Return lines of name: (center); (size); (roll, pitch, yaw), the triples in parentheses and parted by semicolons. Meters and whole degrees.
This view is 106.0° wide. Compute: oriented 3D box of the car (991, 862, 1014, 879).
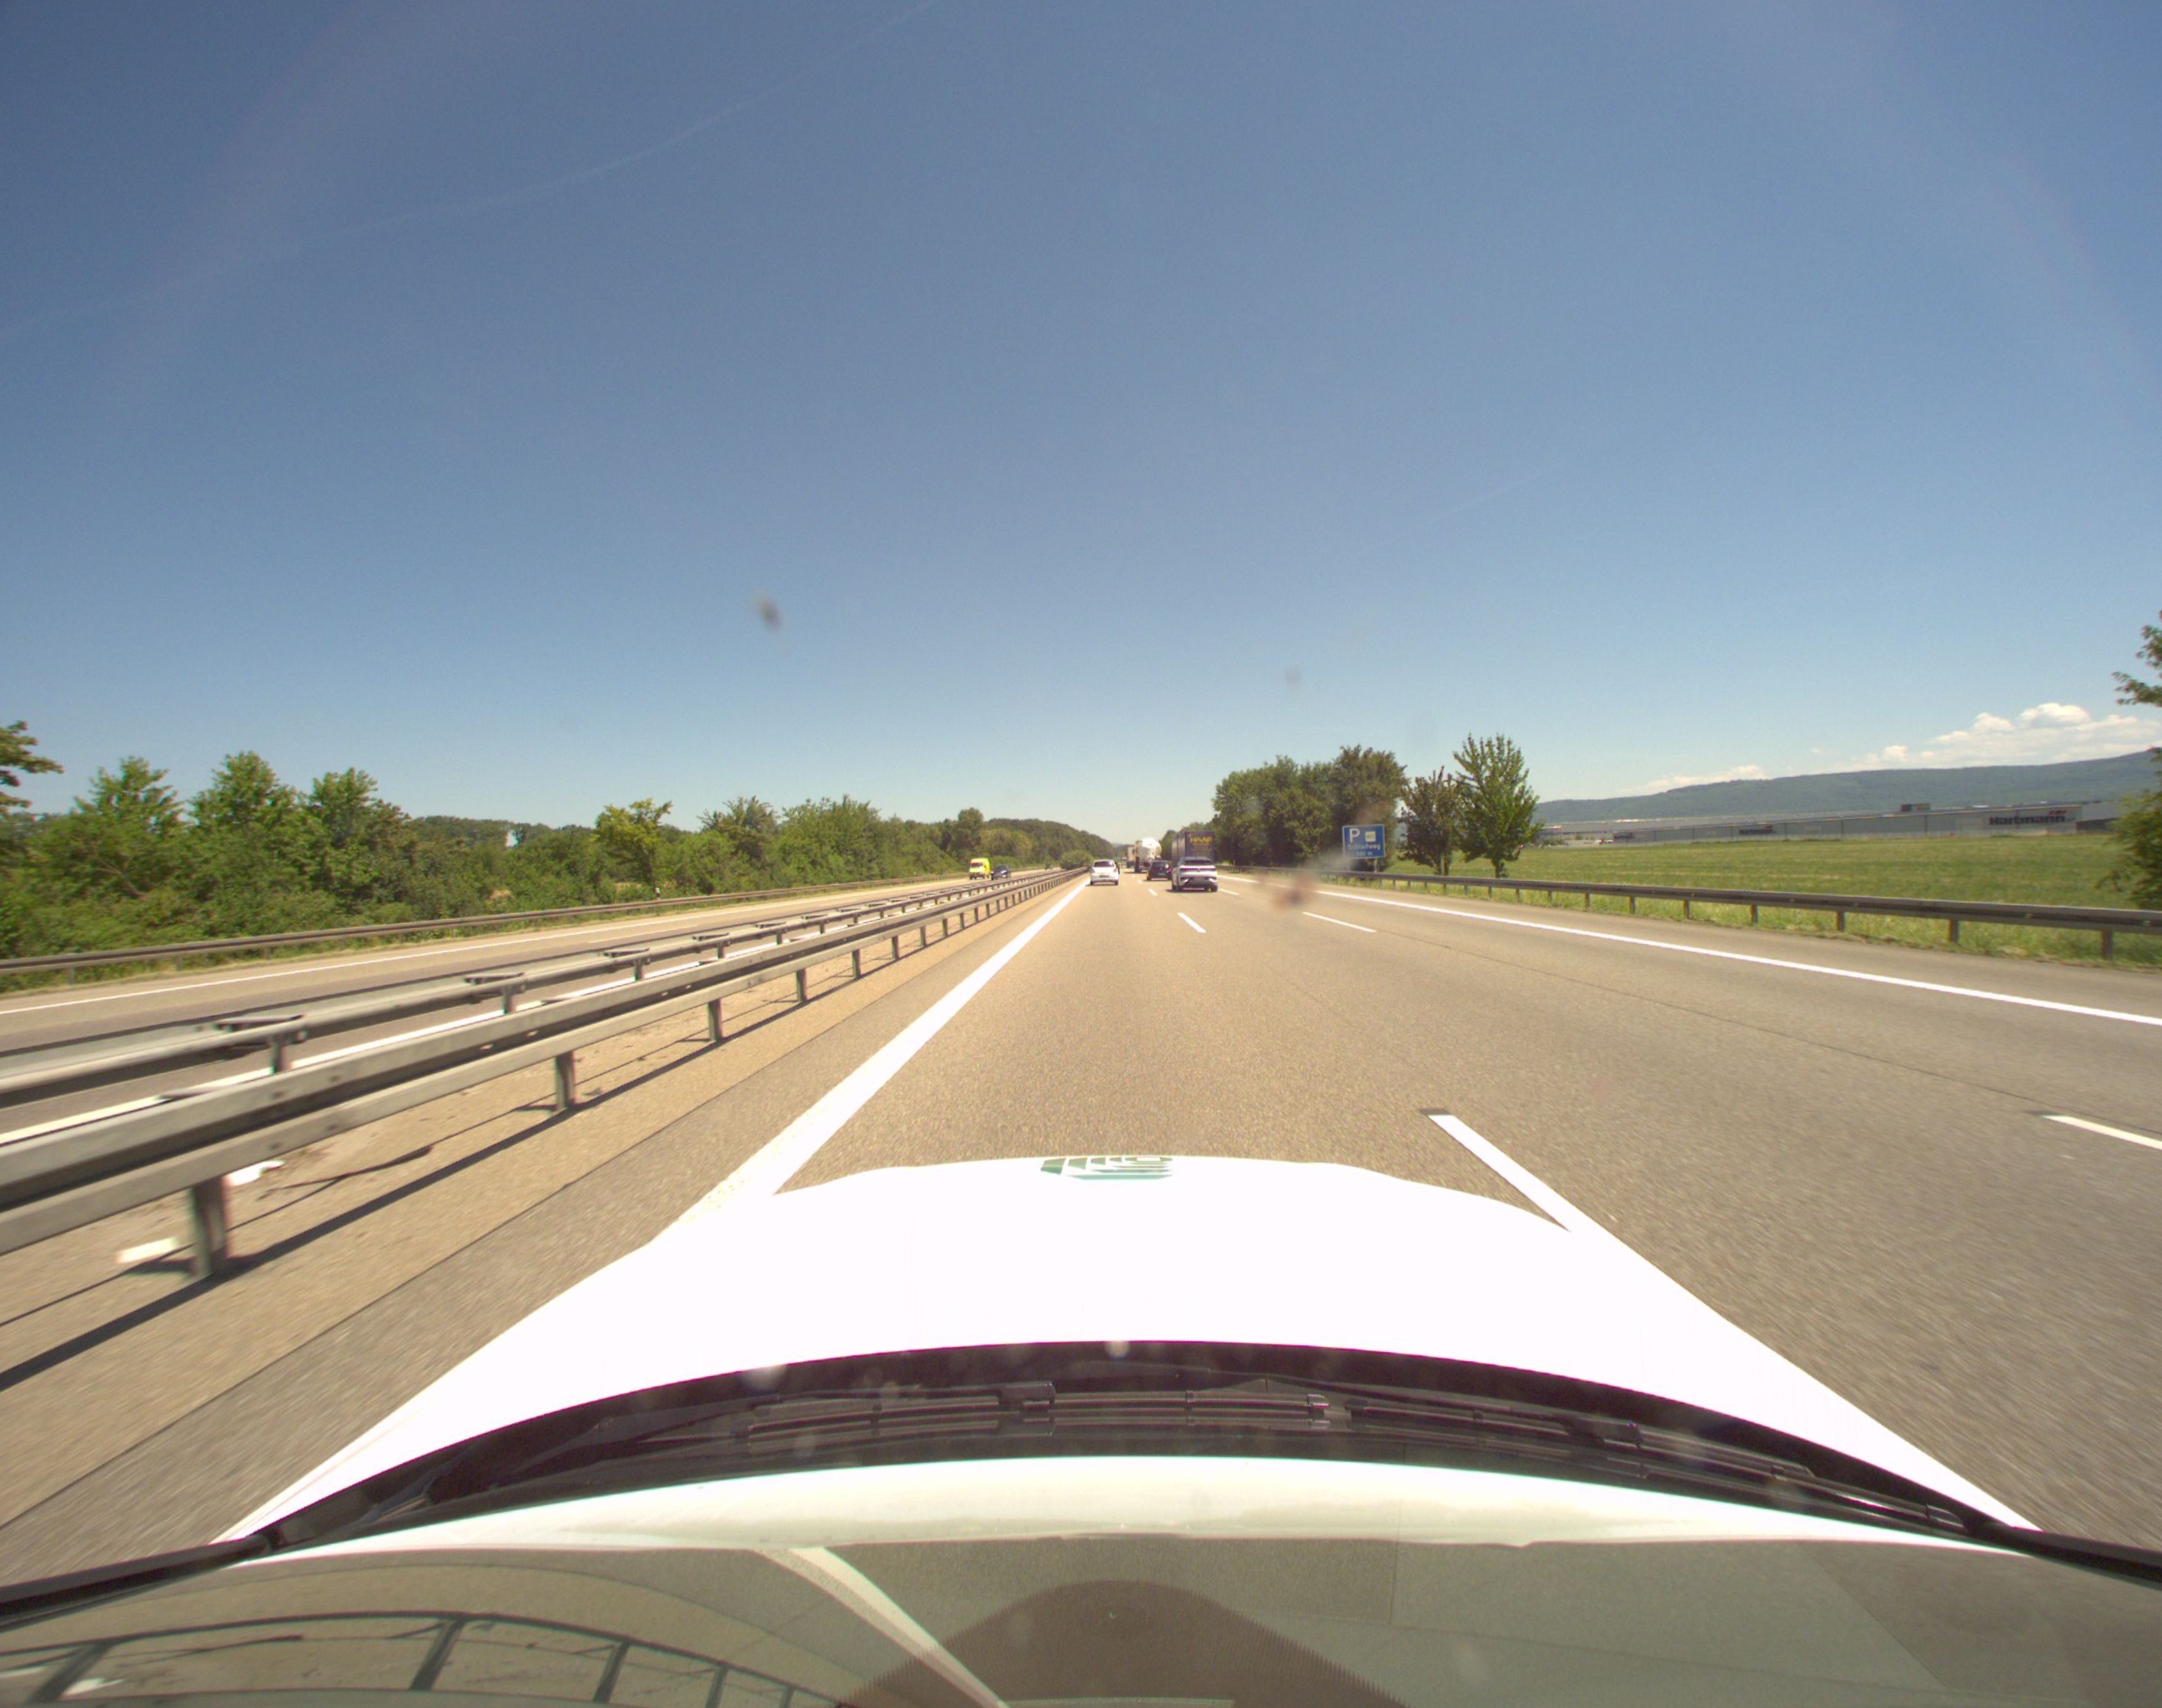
car: (-8.775, 1.802, 91.014); (1.861, 1.690, 4.628); (-4, 0, 2)

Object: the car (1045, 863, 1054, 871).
car: (-7.866, 3.257, 204.172); (1.916, 1.717, 4.290); (-2, 0, 2)

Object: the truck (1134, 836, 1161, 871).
truck: (7.826, -0.035, 97.041); (2.901, 4.079, 7.198); (0, 0, 2)

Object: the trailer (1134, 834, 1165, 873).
trailer: (7.697, -0.021, 92.654); (2.900, 4.069, 12.423); (0, 0, 2)

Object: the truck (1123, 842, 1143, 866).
truck: (9.449, -0.047, 149.466); (3.380, 4.214, 12.092); (0, 0, 3)

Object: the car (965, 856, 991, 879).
car: (-13.162, 1.690, 104.289); (2.157, 2.779, 5.802); (-4, 0, 2)

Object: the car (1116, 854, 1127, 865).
car: (9.539, 1.288, 191.483); (2.465, 2.354, 5.185); (0, 0, 3)

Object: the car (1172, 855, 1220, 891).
car: (5.347, 0.863, 38.324); (1.795, 1.603, 4.382); (0, 0, 2)

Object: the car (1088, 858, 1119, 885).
car: (1.361, 1.029, 49.101); (1.793, 1.552, 3.611); (0, 0, 1)

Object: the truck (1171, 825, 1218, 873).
truck: (10.758, -0.427, 78.772); (3.096, 4.139, 15.522); (0, 0, 3)

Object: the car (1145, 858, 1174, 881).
car: (5.595, 1.082, 58.250); (1.843, 1.523, 3.959); (0, 0, 2)

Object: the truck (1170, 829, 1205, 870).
truck: (11.114, -0.427, 85.641); (3.096, 4.139, 8.062); (0, 0, 3)
